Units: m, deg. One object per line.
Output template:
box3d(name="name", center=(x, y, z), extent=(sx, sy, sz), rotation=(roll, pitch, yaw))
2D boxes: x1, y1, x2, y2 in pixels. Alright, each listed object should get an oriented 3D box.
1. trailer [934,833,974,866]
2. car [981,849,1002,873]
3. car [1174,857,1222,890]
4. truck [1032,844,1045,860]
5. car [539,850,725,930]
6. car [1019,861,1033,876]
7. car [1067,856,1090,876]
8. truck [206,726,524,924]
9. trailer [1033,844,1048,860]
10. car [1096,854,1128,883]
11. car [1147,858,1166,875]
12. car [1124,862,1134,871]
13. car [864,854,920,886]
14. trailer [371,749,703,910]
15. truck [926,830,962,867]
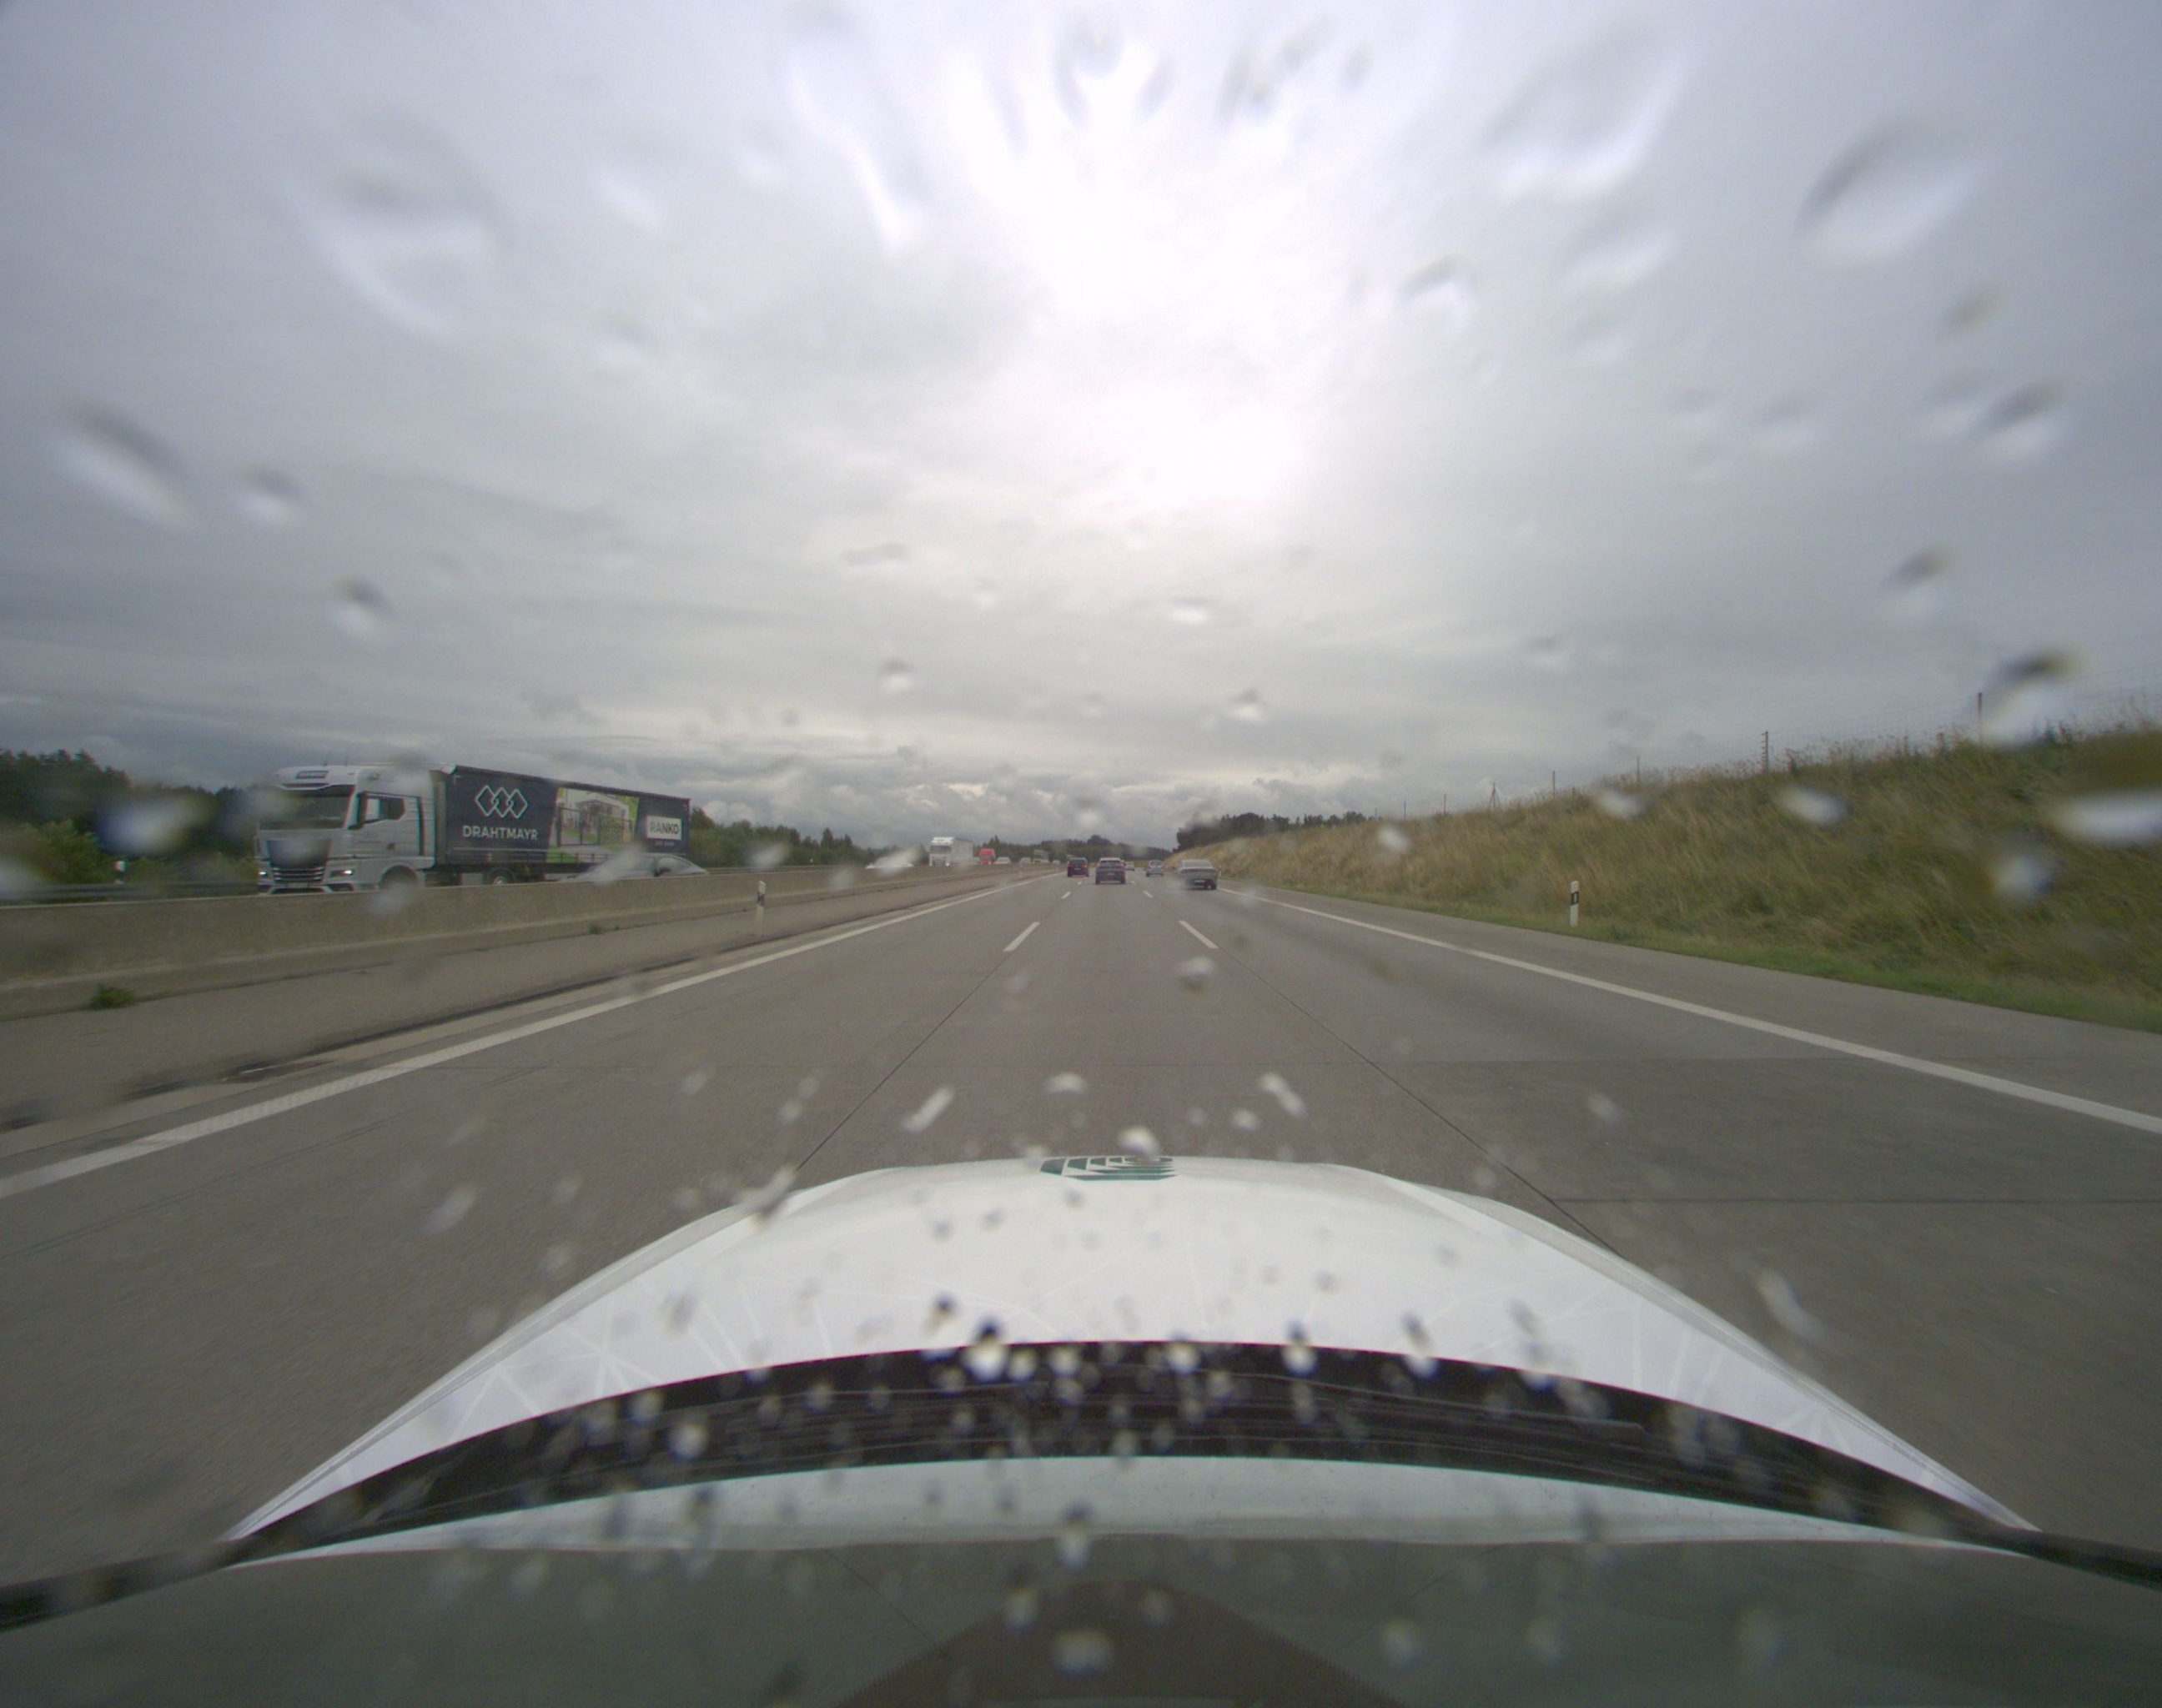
box3d(name="trailer", center=(-16.325, -0.583, 105.955), extent=(2.877, 4.002, 13.018), rotation=(0, 0, 1))
box3d(name="car", center=(-11.585, 0.851, 105.468), extent=(1.794, 2.958, 5.583), rotation=(0, 0, 3))
box3d(name="car", center=(5.762, 0.927, 40.570), extent=(2.005, 1.445, 4.750), rotation=(0, 0, 4))
box3d(name="truck", center=(-11.042, -0.579, 210.568), extent=(2.921, 4.180, 5.859), rotation=(0, 0, 1))
box3d(name="car", center=(-10.844, 0.770, 20.126), extent=(1.986, 1.738, 4.528), rotation=(0, 0, 1))
box3d(name="car", center=(-8.021, 2.117, 119.979), extent=(1.682, 2.013, 4.837), rotation=(0, 0, 0))
box3d(name="car", center=(-0.203, 1.069, 73.027), extent=(1.777, 1.747, 3.919), rotation=(0, 0, 4))
box3d(name="truck", center=(-19.487, -0.727, 22.810), extent=(3.574, 4.819, 5.870), rotation=(0, 0, 1))
box3d(name="trailer", center=(-10.821, -0.622, 217.624), extent=(2.907, 4.217, 11.880), rotation=(0, 0, 2))
box3d(name="car", center=(1.910, 0.867, 51.345), extent=(1.891, 1.690, 5.266), rotation=(0, 0, 0))
box3d(name="car", center=(6.831, 1.100, 73.704), extent=(1.480, 1.470, 3.506), rotation=(2, 0, 2))
box3d(name="car", center=(7.840, 2.030, 133.308), extent=(1.480, 1.470, 3.506), rotation=(2, 0, 2))
box3d(name="car", center=(-10.661, 0.853, 46.314), extent=(1.986, 1.662, 4.528), rotation=(0, 0, 1))
box3d(name="trailer", center=(-19.290, -0.782, 30.838), extent=(3.585, 4.799, 12.912), rotation=(0, 0, 1))
box3d(name="truck", center=(-16.489, -0.653, 98.520), extent=(2.873, 4.291, 7.138), rotation=(0, 0, 1))
